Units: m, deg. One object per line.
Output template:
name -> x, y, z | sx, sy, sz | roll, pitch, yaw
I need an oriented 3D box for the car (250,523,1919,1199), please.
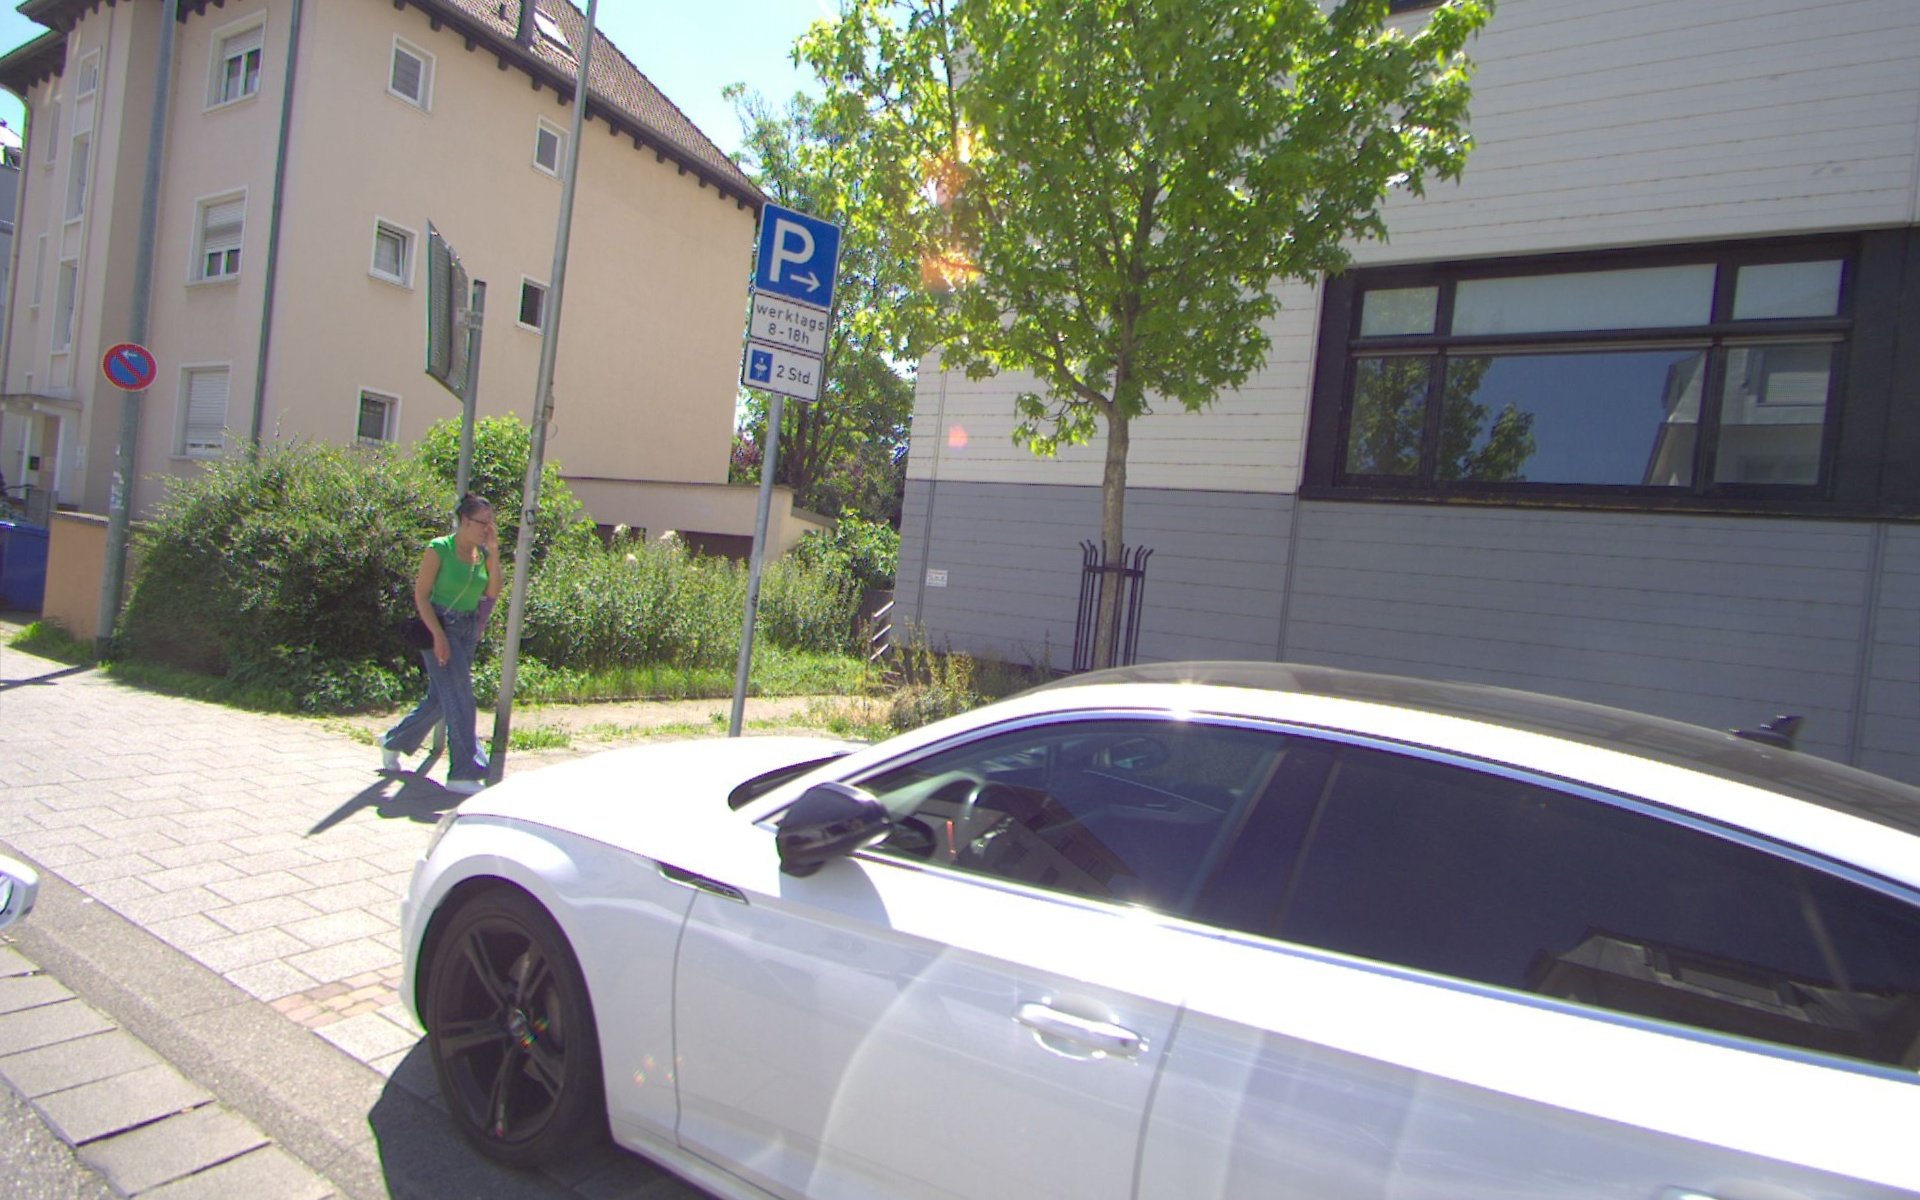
car -> 0.587, 0.803, 2.432 | 4.798, 1.488, 1.917 | 6, 1, 31

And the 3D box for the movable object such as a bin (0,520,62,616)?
movable object such as a bin -> -11.618, -0.406, 12.401 | 0.622, 1.114, 0.625 | 7, 1, 33

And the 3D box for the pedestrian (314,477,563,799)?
pedestrian -> -3.104, 0.205, 6.027 | 1.030, 1.722, 0.681 | 6, 2, 15
